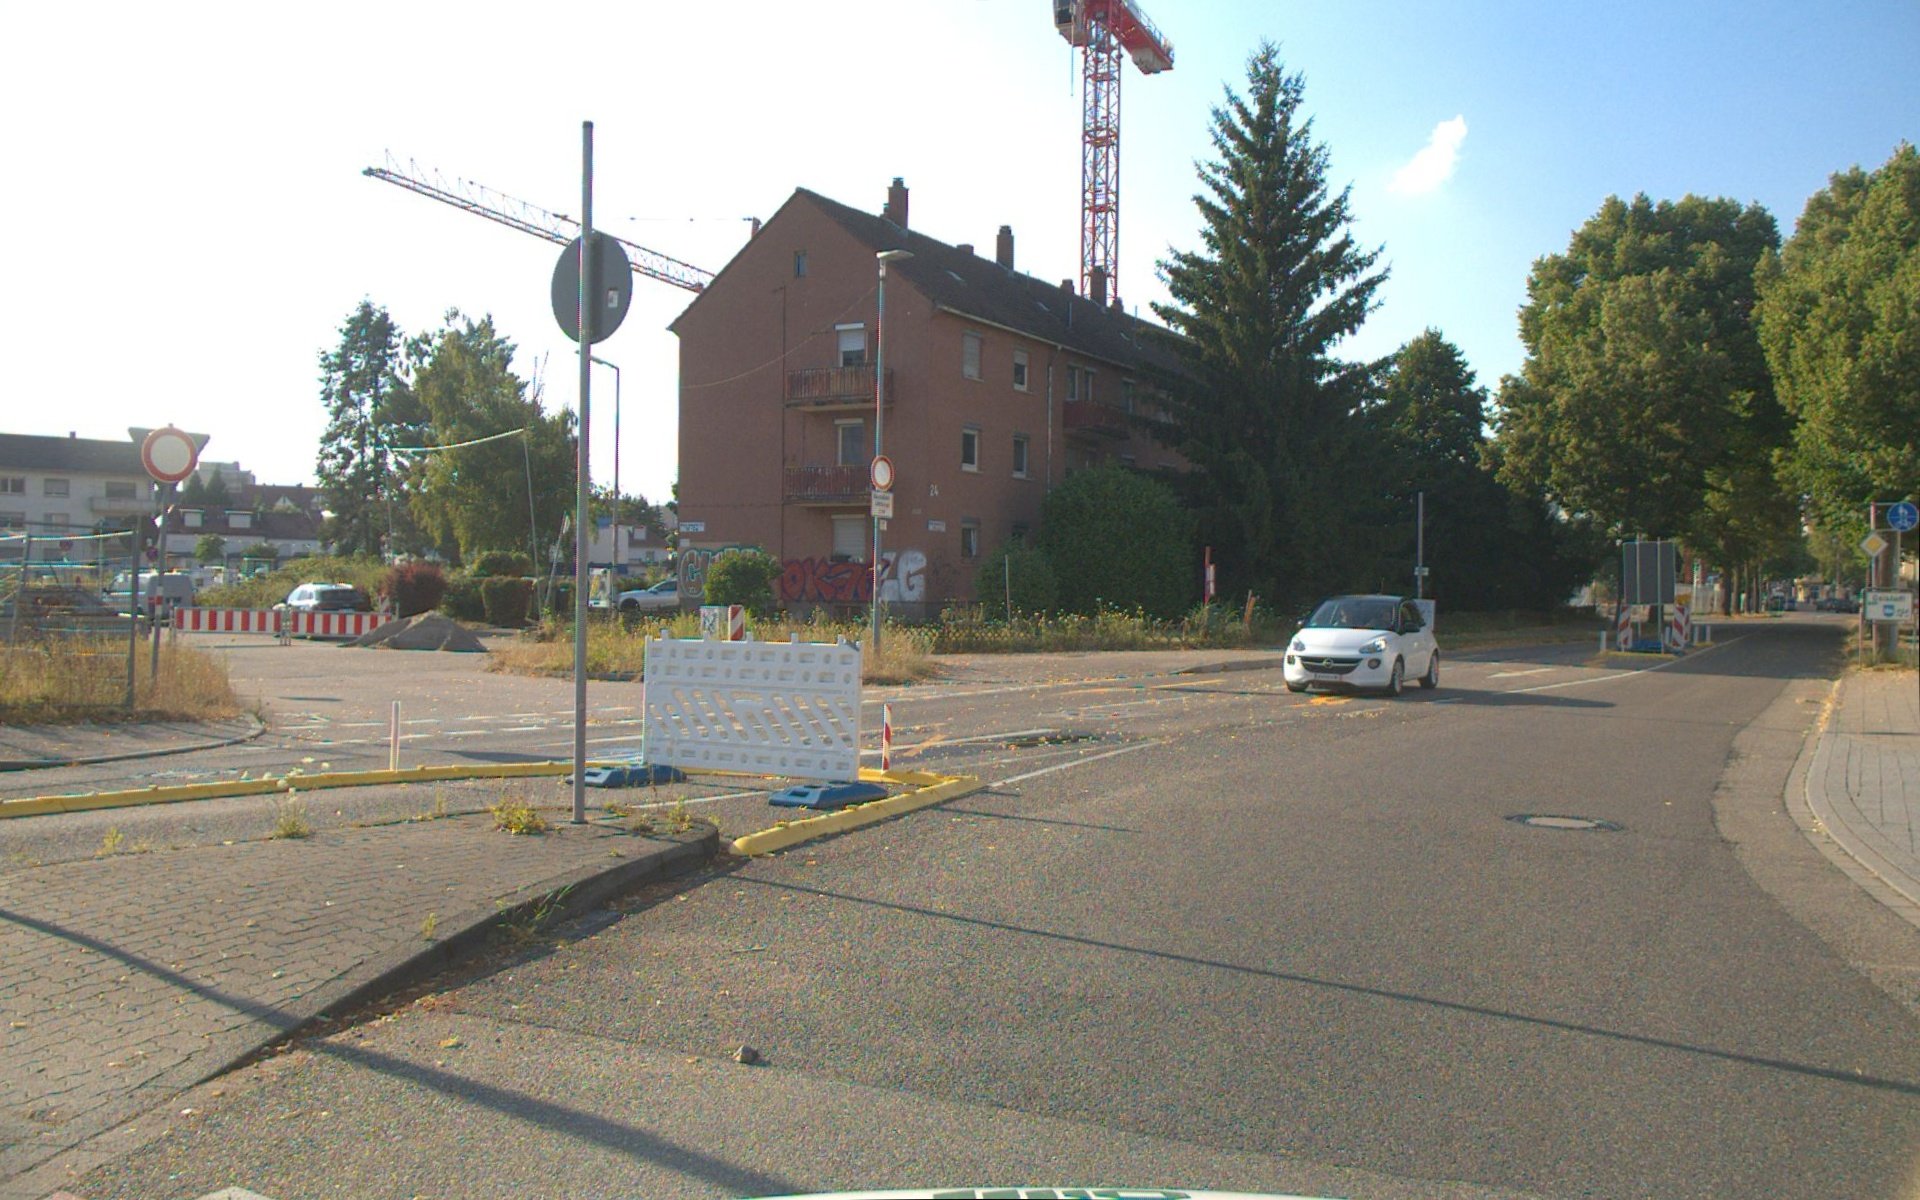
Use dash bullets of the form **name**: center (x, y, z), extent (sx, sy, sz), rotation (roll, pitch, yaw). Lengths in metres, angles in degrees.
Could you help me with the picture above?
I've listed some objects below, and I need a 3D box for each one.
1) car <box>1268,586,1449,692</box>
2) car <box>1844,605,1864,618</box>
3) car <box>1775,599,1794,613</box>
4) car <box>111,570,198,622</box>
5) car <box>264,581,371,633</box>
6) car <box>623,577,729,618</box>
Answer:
- **car**: center (6.209, 0.554, 25.498), extent (1.726, 1.446, 3.617), rotation (3, 1, 30)
- **car**: center (108.034, 1.407, 199.832), extent (1.679, 1.512, 3.999), rotation (0, -1, 22)
- **car**: center (106.001, 0.764, 212.625), extent (1.953, 1.717, 3.998), rotation (0, -1, 23)
- **car**: center (-31.274, -0.175, 64.163), extent (3.933, 1.982, 1.855), rotation (1, 0, 45)
- **car**: center (-20.493, 0.204, 52.670), extent (1.983, 1.579, 3.940), rotation (0, 0, -41)
- **car**: center (-11.242, -0.111, 65.696), extent (3.907, 1.557, 1.999), rotation (1, 0, -3)
